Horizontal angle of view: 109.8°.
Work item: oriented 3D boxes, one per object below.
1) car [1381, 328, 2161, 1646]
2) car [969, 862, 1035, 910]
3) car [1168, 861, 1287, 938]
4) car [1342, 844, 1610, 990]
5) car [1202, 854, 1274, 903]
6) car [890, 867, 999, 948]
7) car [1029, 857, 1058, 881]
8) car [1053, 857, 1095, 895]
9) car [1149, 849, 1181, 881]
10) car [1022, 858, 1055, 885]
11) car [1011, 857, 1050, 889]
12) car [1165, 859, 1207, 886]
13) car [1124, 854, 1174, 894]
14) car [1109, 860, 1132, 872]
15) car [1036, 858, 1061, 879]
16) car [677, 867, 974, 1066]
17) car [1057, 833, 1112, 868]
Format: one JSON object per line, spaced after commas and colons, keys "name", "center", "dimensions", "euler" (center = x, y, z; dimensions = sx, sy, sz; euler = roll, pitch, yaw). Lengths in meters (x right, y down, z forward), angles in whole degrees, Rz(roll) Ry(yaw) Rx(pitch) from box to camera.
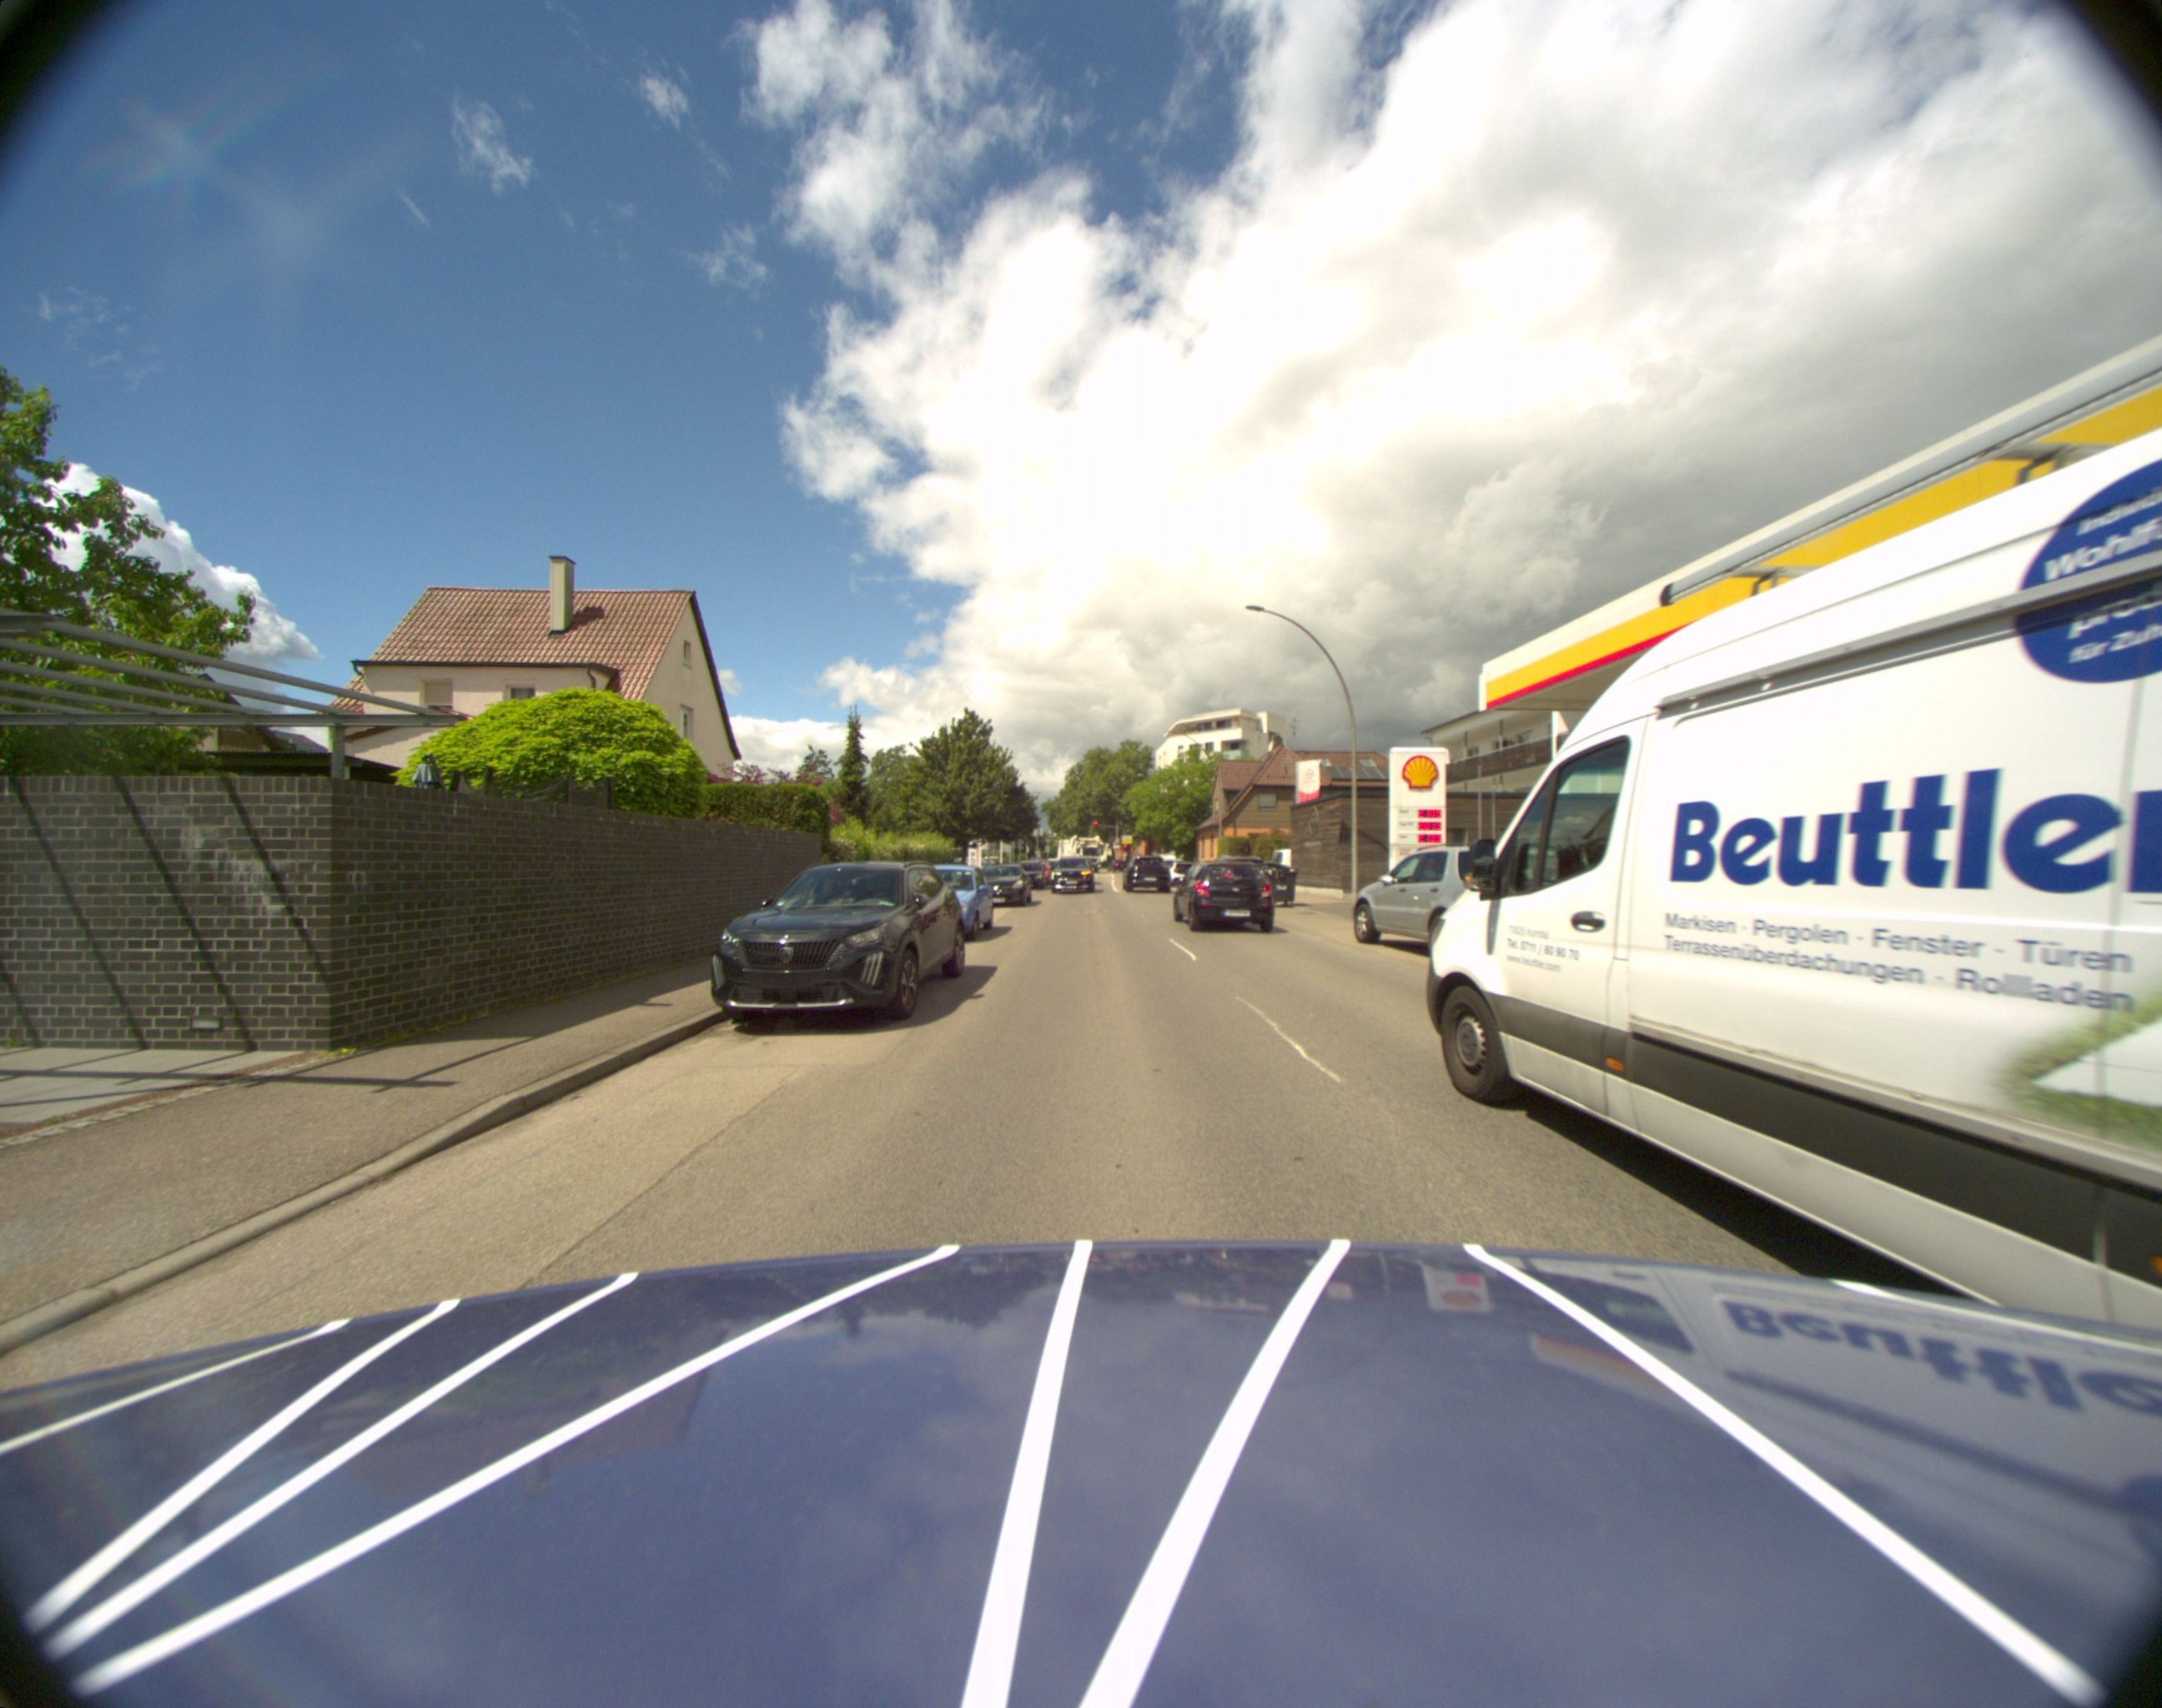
{"name": "car", "center": [3.255, 0.281, 2.520], "dimensions": [1.997, 2.749, 6.163], "euler": [1, 0, 0]}
{"name": "car", "center": [-2.610, 1.031, 25.904], "dimensions": [1.789, 1.435, 3.772], "euler": [-1, 0, 1]}
{"name": "car", "center": [3.125, 0.927, 17.015], "dimensions": [1.852, 1.465, 3.981], "euler": [1, 0, 0]}
{"name": "car", "center": [6.007, 0.832, 12.270], "dimensions": [1.789, 1.857, 4.315], "euler": [3, 0, -3]}
{"name": "car", "center": [5.910, 0.945, 29.122], "dimensions": [1.789, 1.694, 4.536], "euler": [-1, -2, 0]}
{"name": "car", "center": [-2.707, 1.019, 15.789], "dimensions": [1.576, 1.423, 3.548], "euler": [0, 0, 1]}
{"name": "car", "center": [-2.578, 1.027, 52.620], "dimensions": [1.789, 1.555, 3.879], "euler": [-1, 0, 0]}
{"name": "car", "center": [-0.281, 0.968, 34.831], "dimensions": [1.789, 1.555, 3.879], "euler": [-1, 0, 0]}
{"name": "car", "center": [6.137, 0.869, 56.163], "dimensions": [1.789, 2.166, 4.536], "euler": [-1, -2, 0]}
{"name": "car", "center": [-2.586, 1.051, 47.058], "dimensions": [1.789, 1.555, 3.879], "euler": [-1, 0, 0]}
{"name": "car", "center": [-2.697, 1.003, 41.326], "dimensions": [1.789, 1.555, 3.879], "euler": [-1, 0, 0]}
{"name": "car", "center": [6.152, 1.123, 44.949], "dimensions": [1.789, 1.493, 4.536], "euler": [-1, -2, 0]}
{"name": "car", "center": [3.061, 0.852, 35.046], "dimensions": [2.064, 1.700, 4.535], "euler": [-1, 0, 2]}
{"name": "car", "center": [4.541, 1.353, 87.506], "dimensions": [1.818, 1.313, 3.996], "euler": [0, 0, -9]}
{"name": "car", "center": [-2.596, 1.122, 61.673], "dimensions": [1.789, 1.555, 3.879], "euler": [-1, 0, 0]}
{"name": "car", "center": [-2.452, 0.984, 8.546], "dimensions": [1.789, 1.548, 4.316], "euler": [-1, 0, 1]}
{"name": "car", "center": [0.213, -0.353, 84.206], "dimensions": [3.267, 3.596, 10.254], "euler": [-1, 0, -16]}
